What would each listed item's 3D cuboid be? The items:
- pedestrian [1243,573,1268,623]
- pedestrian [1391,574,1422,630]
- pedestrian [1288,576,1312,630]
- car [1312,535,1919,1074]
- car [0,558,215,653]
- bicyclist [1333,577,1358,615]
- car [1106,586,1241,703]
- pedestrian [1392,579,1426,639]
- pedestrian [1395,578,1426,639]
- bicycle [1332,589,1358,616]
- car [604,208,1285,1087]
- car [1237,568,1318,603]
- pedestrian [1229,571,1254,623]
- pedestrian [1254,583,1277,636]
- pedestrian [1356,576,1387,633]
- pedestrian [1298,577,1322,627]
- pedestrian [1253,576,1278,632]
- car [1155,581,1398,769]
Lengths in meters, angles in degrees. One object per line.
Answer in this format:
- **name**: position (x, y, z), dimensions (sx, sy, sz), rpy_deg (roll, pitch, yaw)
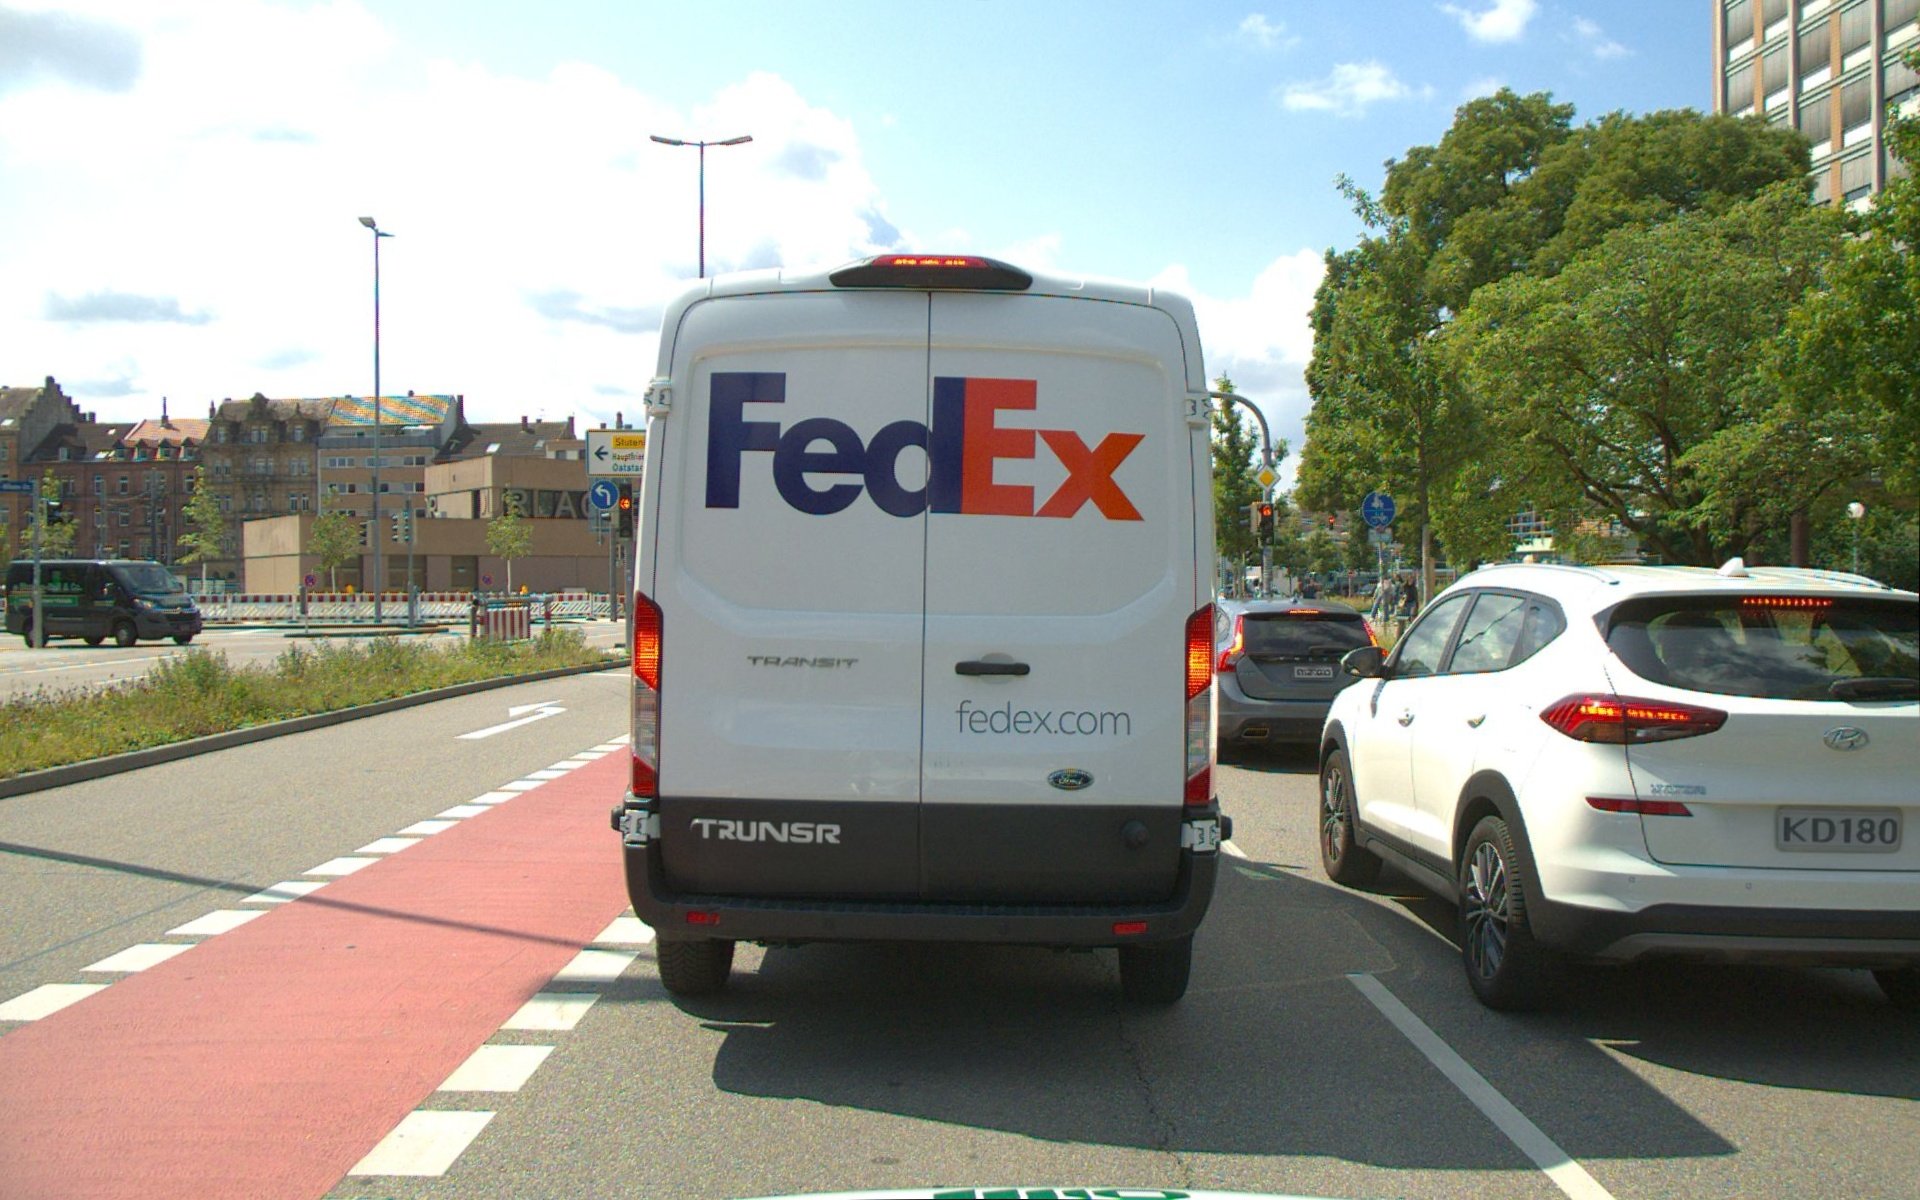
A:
- **pedestrian**: position (11.072, -0.079, 61.997), dimensions (0.744, 1.882, 0.816), rpy_deg (0, 0, -3)
- **pedestrian**: position (15.188, 0.050, 56.242), dimensions (0.745, 1.882, 0.814), rpy_deg (0, 0, -9)
- **pedestrian**: position (11.983, 0.105, 58.270), dimensions (0.743, 1.882, 0.816), rpy_deg (0, 0, 18)
- **car**: position (2.831, 0.624, 7.236), dimensions (1.777, 1.708, 3.974), rpy_deg (0, 1, 1)
- **car**: position (-21.909, 0.130, 42.506), dimensions (4.898, 2.213, 2.155), rpy_deg (-2, 1, 21)
- **bicyclist**: position (22.691, -0.240, 97.379), dimensions (1.402, 2.209, 1.340), rpy_deg (0, 0, 14)
- **car**: position (2.923, 0.561, 23.184), dimensions (1.468, 1.489, 3.474), rpy_deg (0, 1, 1)
- **pedestrian**: position (12.606, 0.245, 46.436), dimensions (0.743, 1.684, 0.816), rpy_deg (0, 0, 3)
- **pedestrian**: position (14.125, 0.264, 51.868), dimensions (0.743, 1.882, 0.816), rpy_deg (0, 0, 0)
- **bicycle**: position (22.692, 0.117, 97.361), dimensions (1.395, 1.489, 4.314), rpy_deg (0, 1, 14)
- **car**: position (-0.018, 0.118, 7.179), dimensions (2.030, 2.626, 4.428), rpy_deg (0, 1, 1)
- **car**: position (26.239, -1.186, 136.552), dimensions (7.006, 2.765, 2.464), rpy_deg (1, -1, -36)
- **pedestrian**: position (10.235, -0.125, 60.094), dimensions (0.796, 1.882, 0.761), rpy_deg (0, 0, 2)
- **pedestrian**: position (10.927, 0.348, 59.206), dimensions (0.742, 1.882, 0.817), rpy_deg (0, 0, 14)
- **pedestrian**: position (13.896, 0.150, 55.923), dimensions (0.745, 1.882, 0.814), rpy_deg (-1, 0, -11)
- **pedestrian**: position (13.307, 0.058, 62.863), dimensions (0.743, 1.882, 0.816), rpy_deg (0, 0, 3)
- **pedestrian**: position (10.488, 0.130, 56.843), dimensions (0.743, 1.882, 0.816), rpy_deg (0, 0, 18)
- **car**: position (2.902, 0.612, 15.865), dimensions (1.656, 1.576, 3.721), rpy_deg (0, 1, 1)
